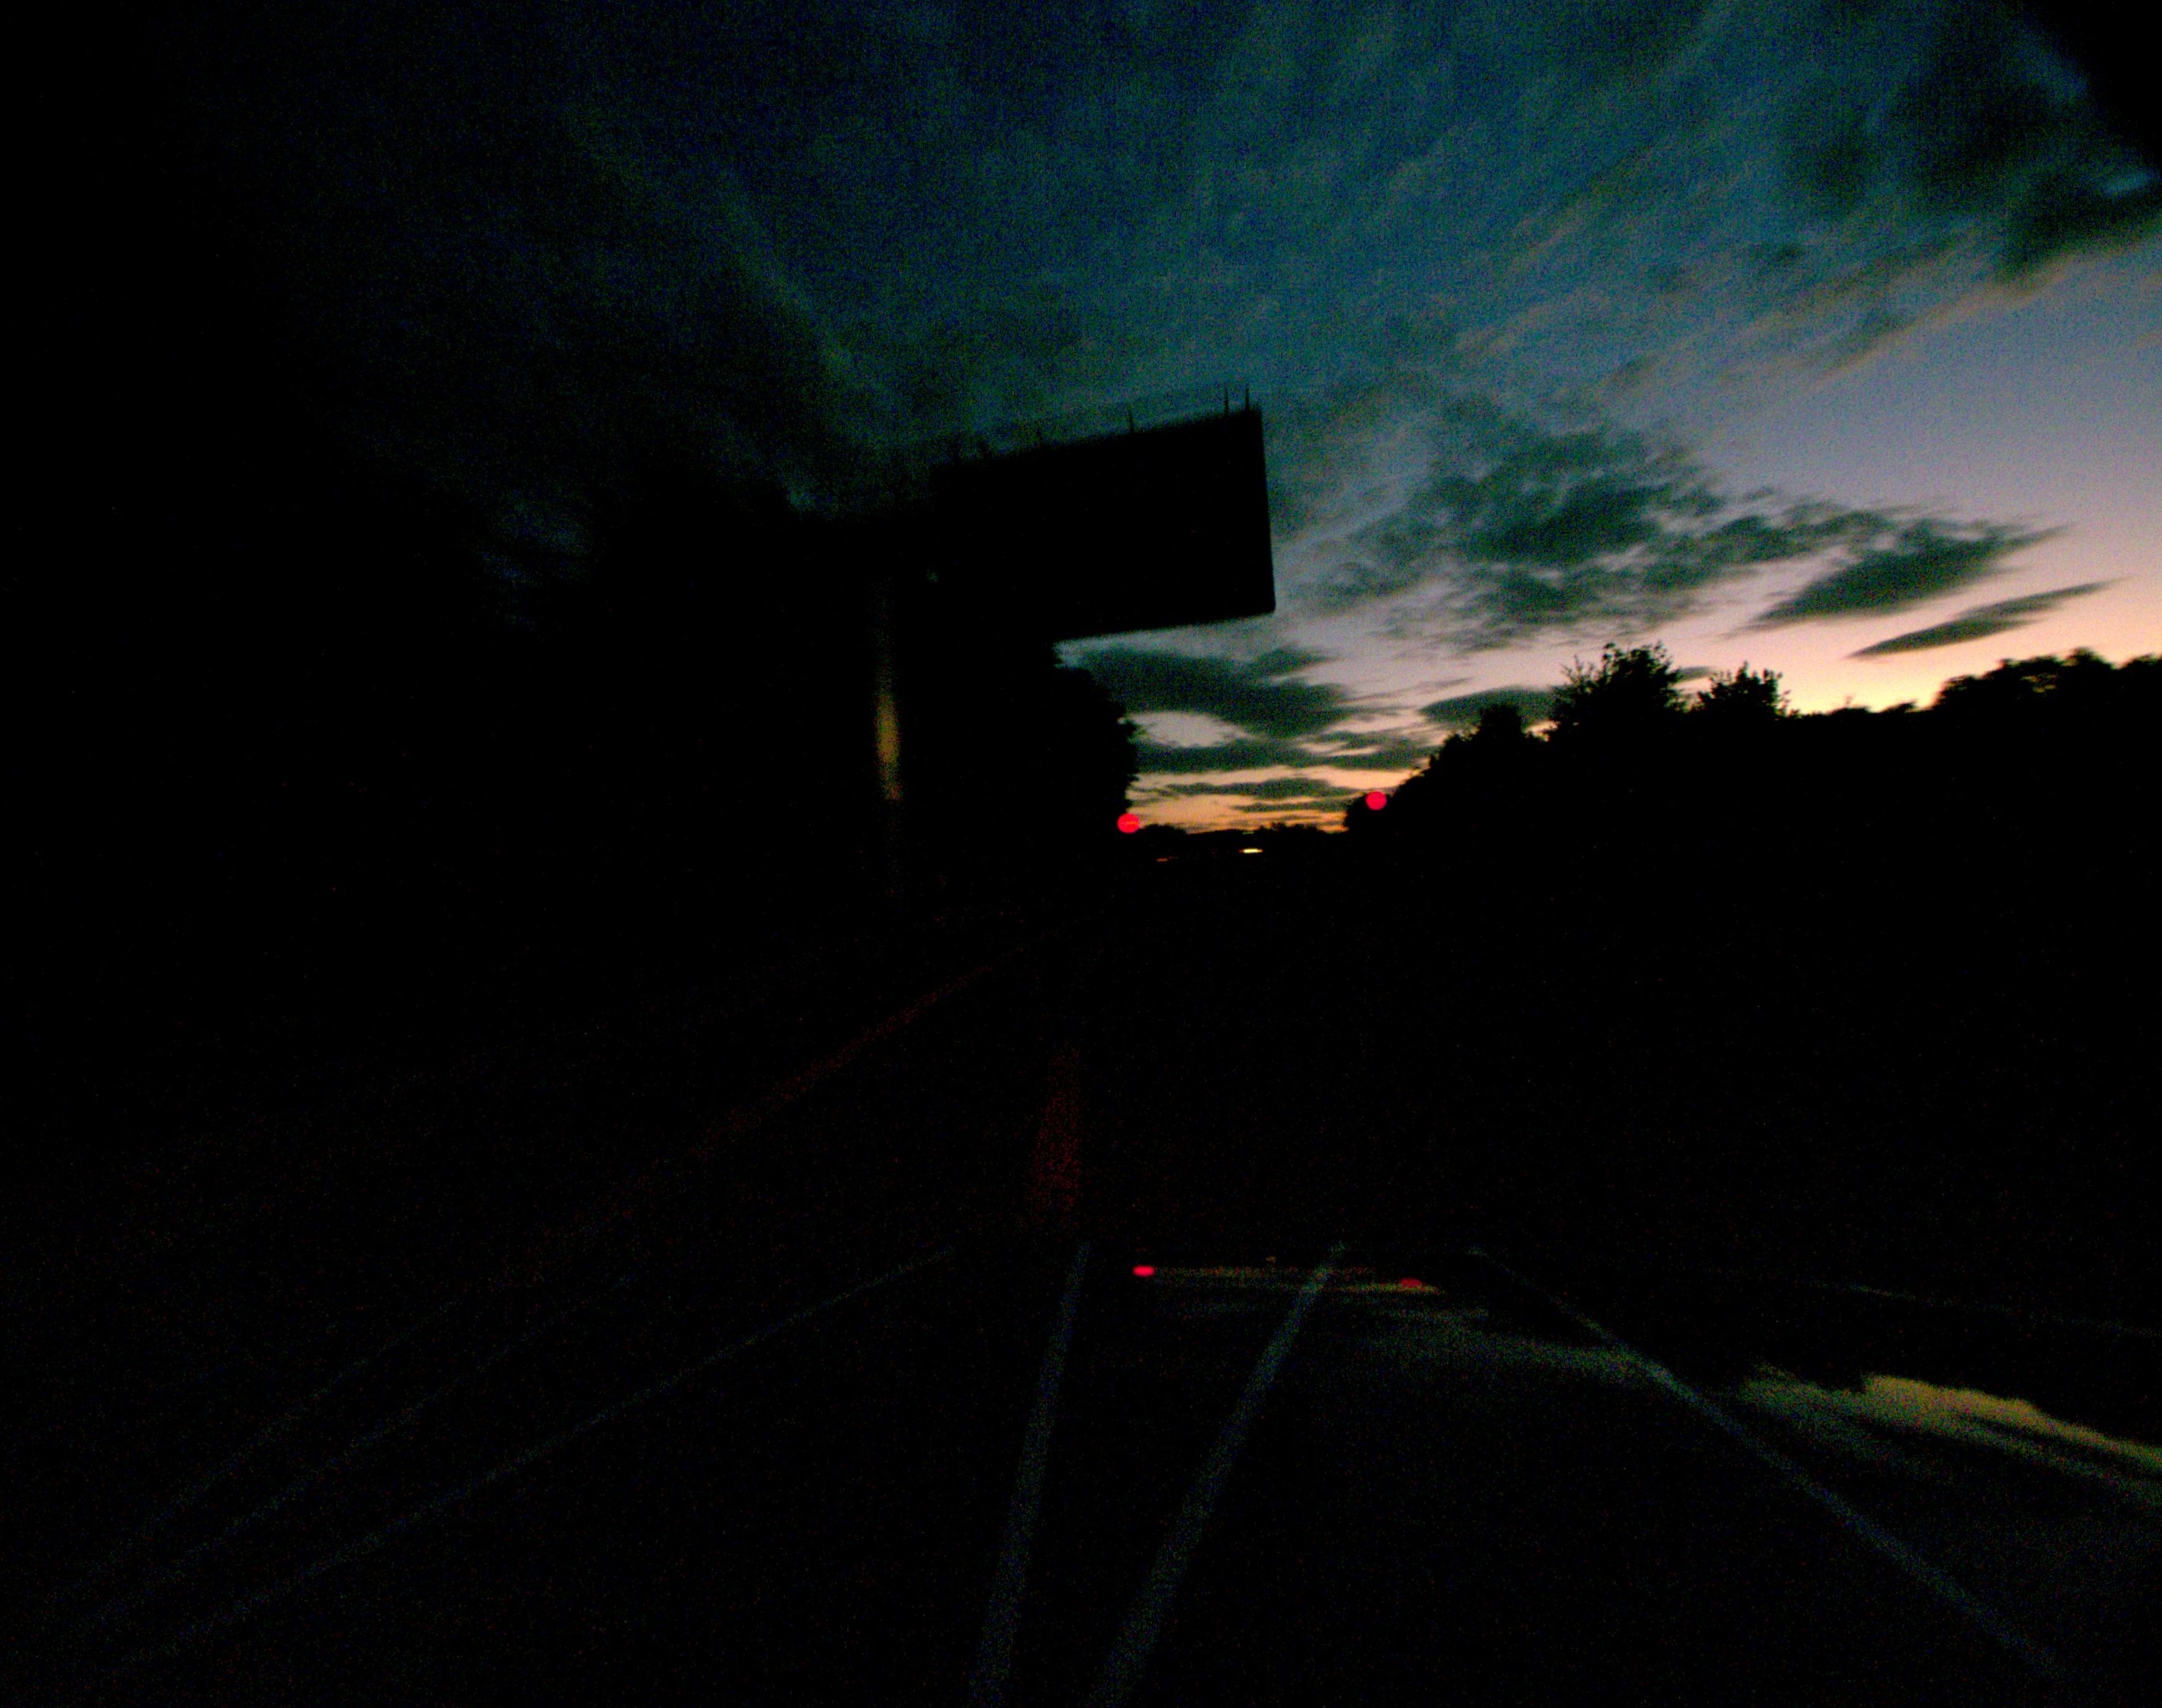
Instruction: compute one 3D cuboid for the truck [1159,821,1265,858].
[{"bbox_3d":[18.855,-1.998,111.522,2.528,4.642,16.972,-5,2,-43],"label":"truck"}]
